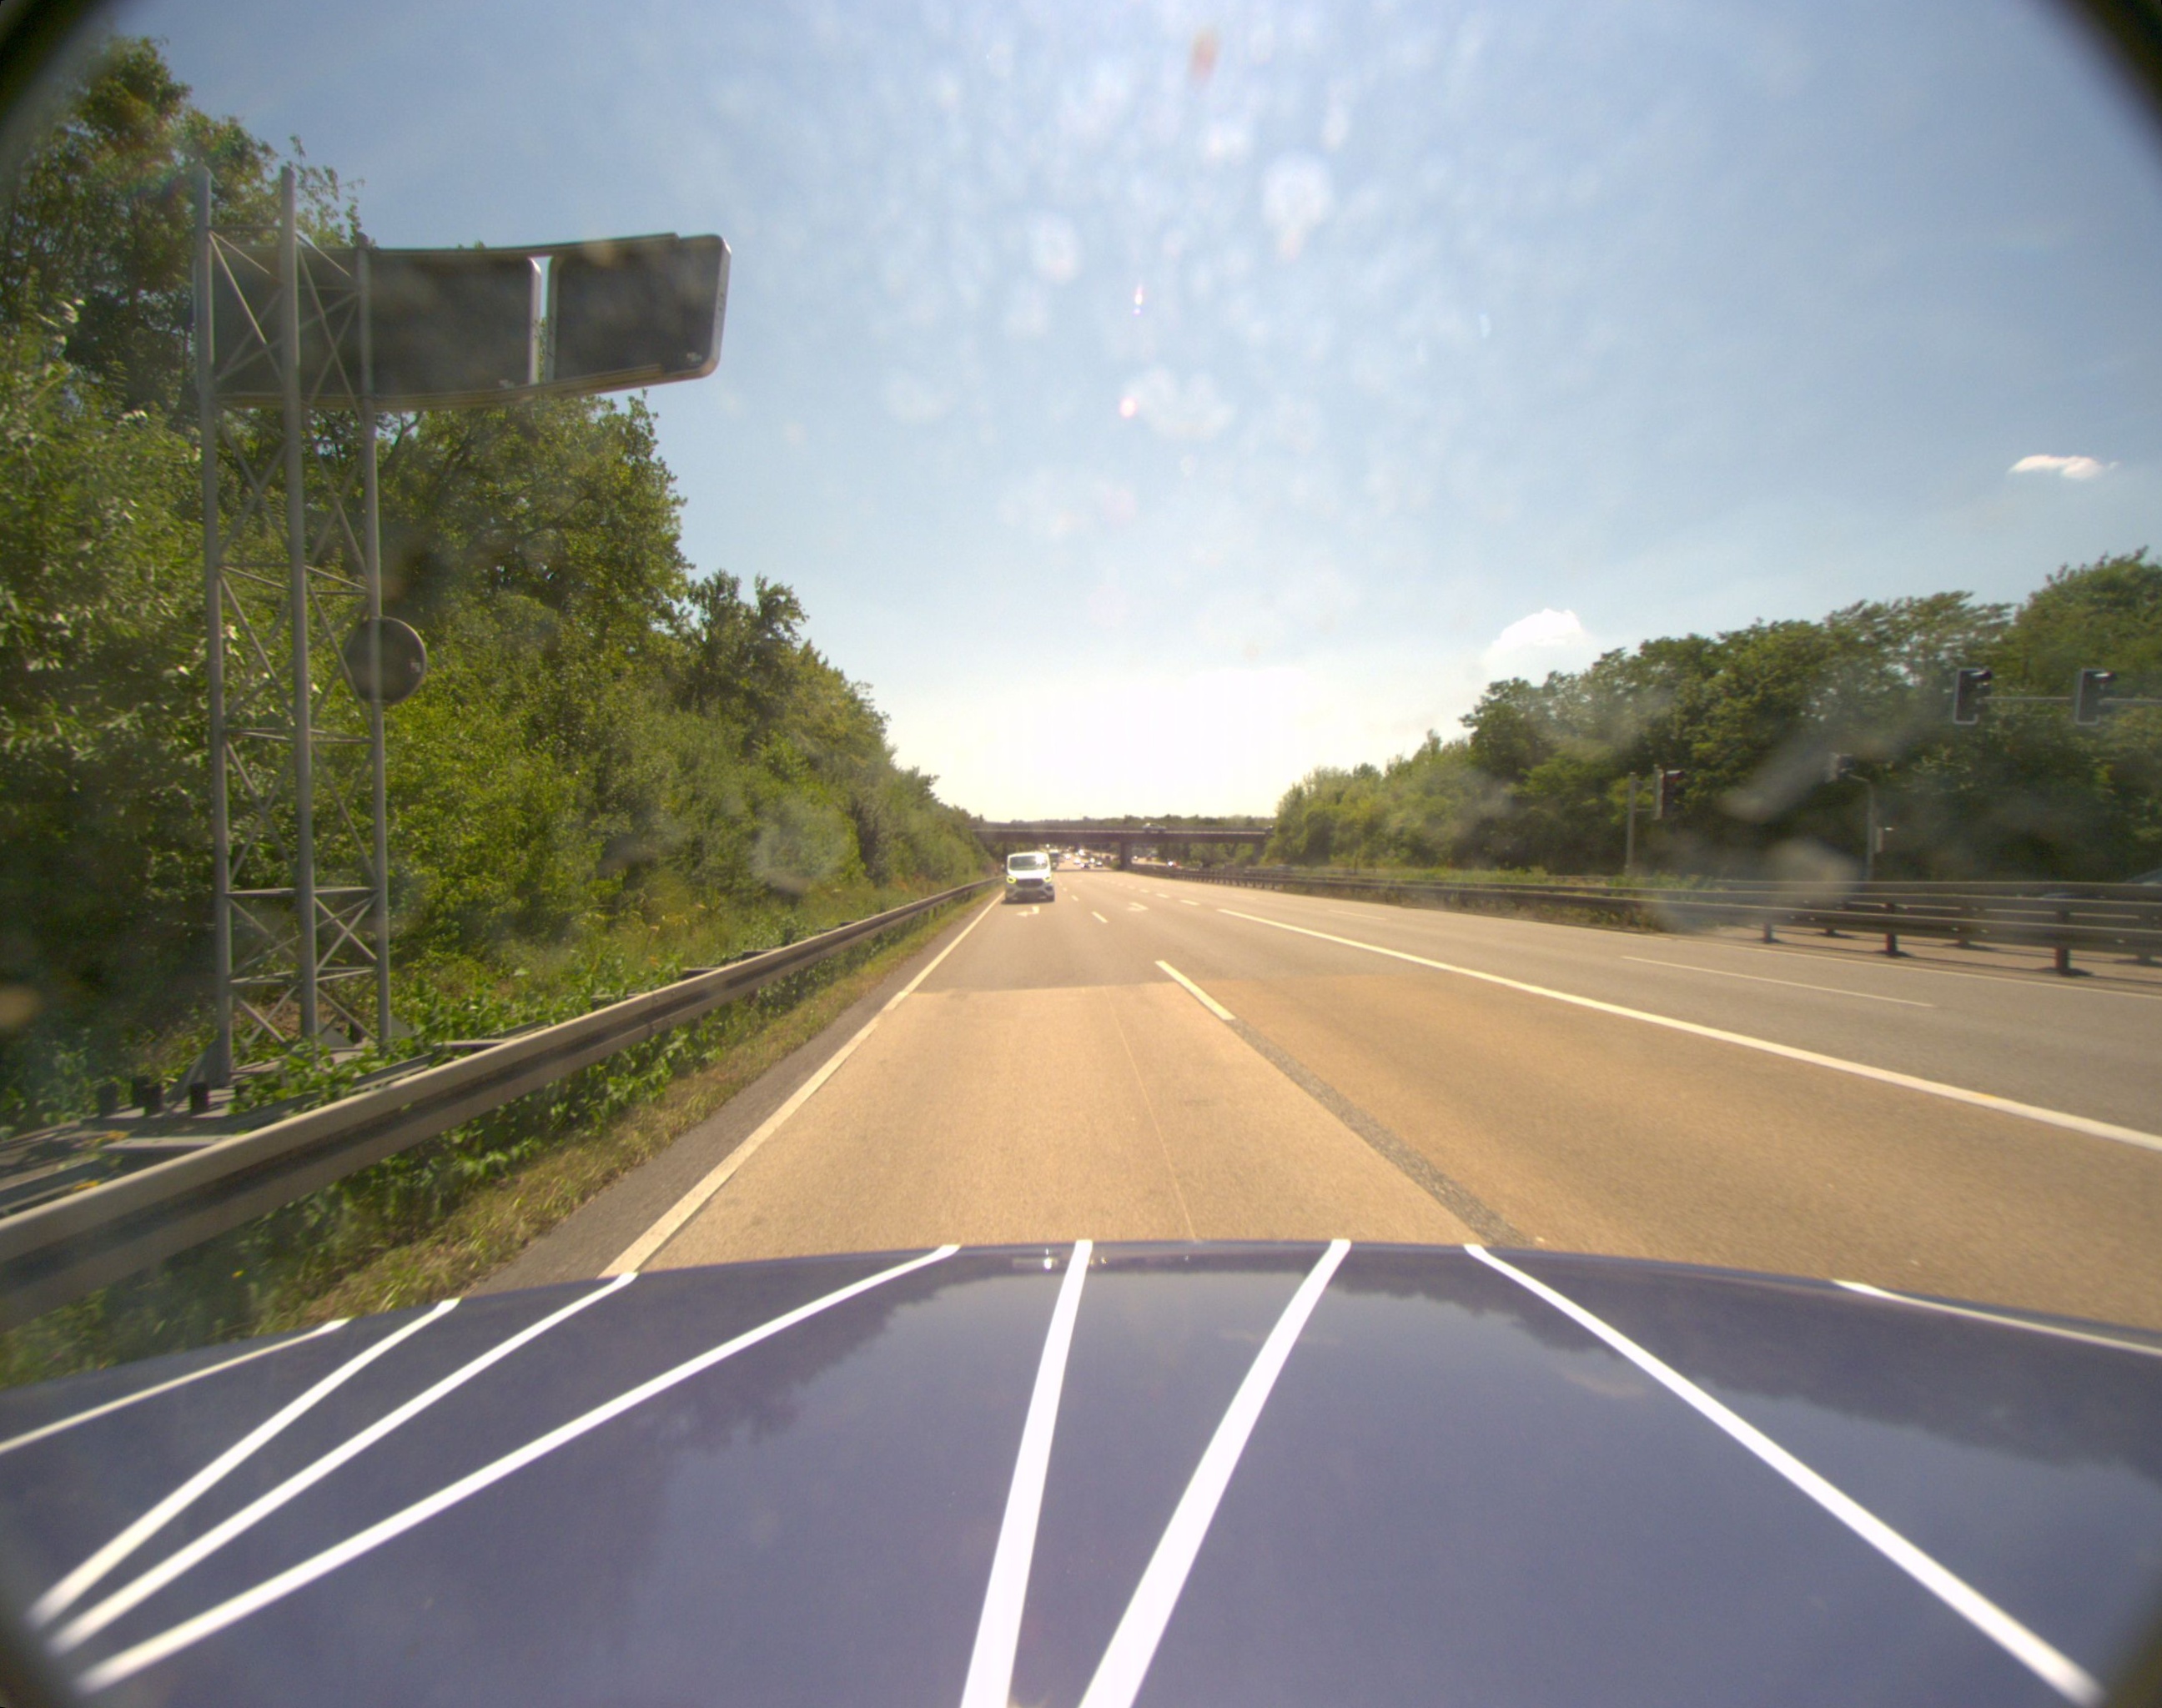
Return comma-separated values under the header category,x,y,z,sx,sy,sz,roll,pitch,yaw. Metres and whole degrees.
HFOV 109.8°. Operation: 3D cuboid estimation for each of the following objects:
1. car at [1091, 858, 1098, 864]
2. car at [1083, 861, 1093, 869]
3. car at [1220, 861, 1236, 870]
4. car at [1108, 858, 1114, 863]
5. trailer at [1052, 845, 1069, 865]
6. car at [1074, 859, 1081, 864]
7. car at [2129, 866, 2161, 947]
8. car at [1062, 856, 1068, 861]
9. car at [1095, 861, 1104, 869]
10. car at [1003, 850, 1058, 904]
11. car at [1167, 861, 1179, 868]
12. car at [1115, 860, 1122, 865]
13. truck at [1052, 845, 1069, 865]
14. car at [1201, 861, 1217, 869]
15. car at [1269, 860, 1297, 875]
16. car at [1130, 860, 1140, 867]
category,x,y,z,sx,sy,sz,roll,pitch,yaw
car,3.854,1.956,218.692,1.998,1.622,4.473,-1,0,1
car,1.381,2.213,154.232,1.998,1.622,4.473,-1,0,1
car,23.389,1.891,121.340,1.653,1.402,4.473,-1,0,0
car,10.330,2.231,262.315,1.998,1.622,4.473,-1,0,1
trailer,-5.134,0.370,197.877,3.969,4.922,16.001,-1,0,0
car,-1.045,2.170,218.461,1.998,1.622,4.473,-1,0,1
car,17.129,0.786,10.615,1.156,1.229,2.727,-1,0,-3
car,-5.203,1.533,246.823,1.998,1.622,4.473,-1,0,1
car,4.083,2.458,171.265,1.998,1.622,4.473,-1,0,1
car,-2.061,0.915,32.125,2.062,2.002,5.040,-2,0,-2
car,19.384,2.246,160.135,1.758,1.516,4.472,-1,0,-1
car,11.090,2.565,225.328,1.998,1.622,4.473,-1,0,1
truck,-5.145,0.301,190.127,3.985,4.922,6.230,-1,0,0
car,23.320,1.982,138.375,2.132,1.502,4.472,-1,0,-1
car,21.592,1.427,81.282,1.718,1.559,3.999,-1,0,-3
car,12.448,2.111,176.270,1.998,1.622,4.473,-1,0,1
